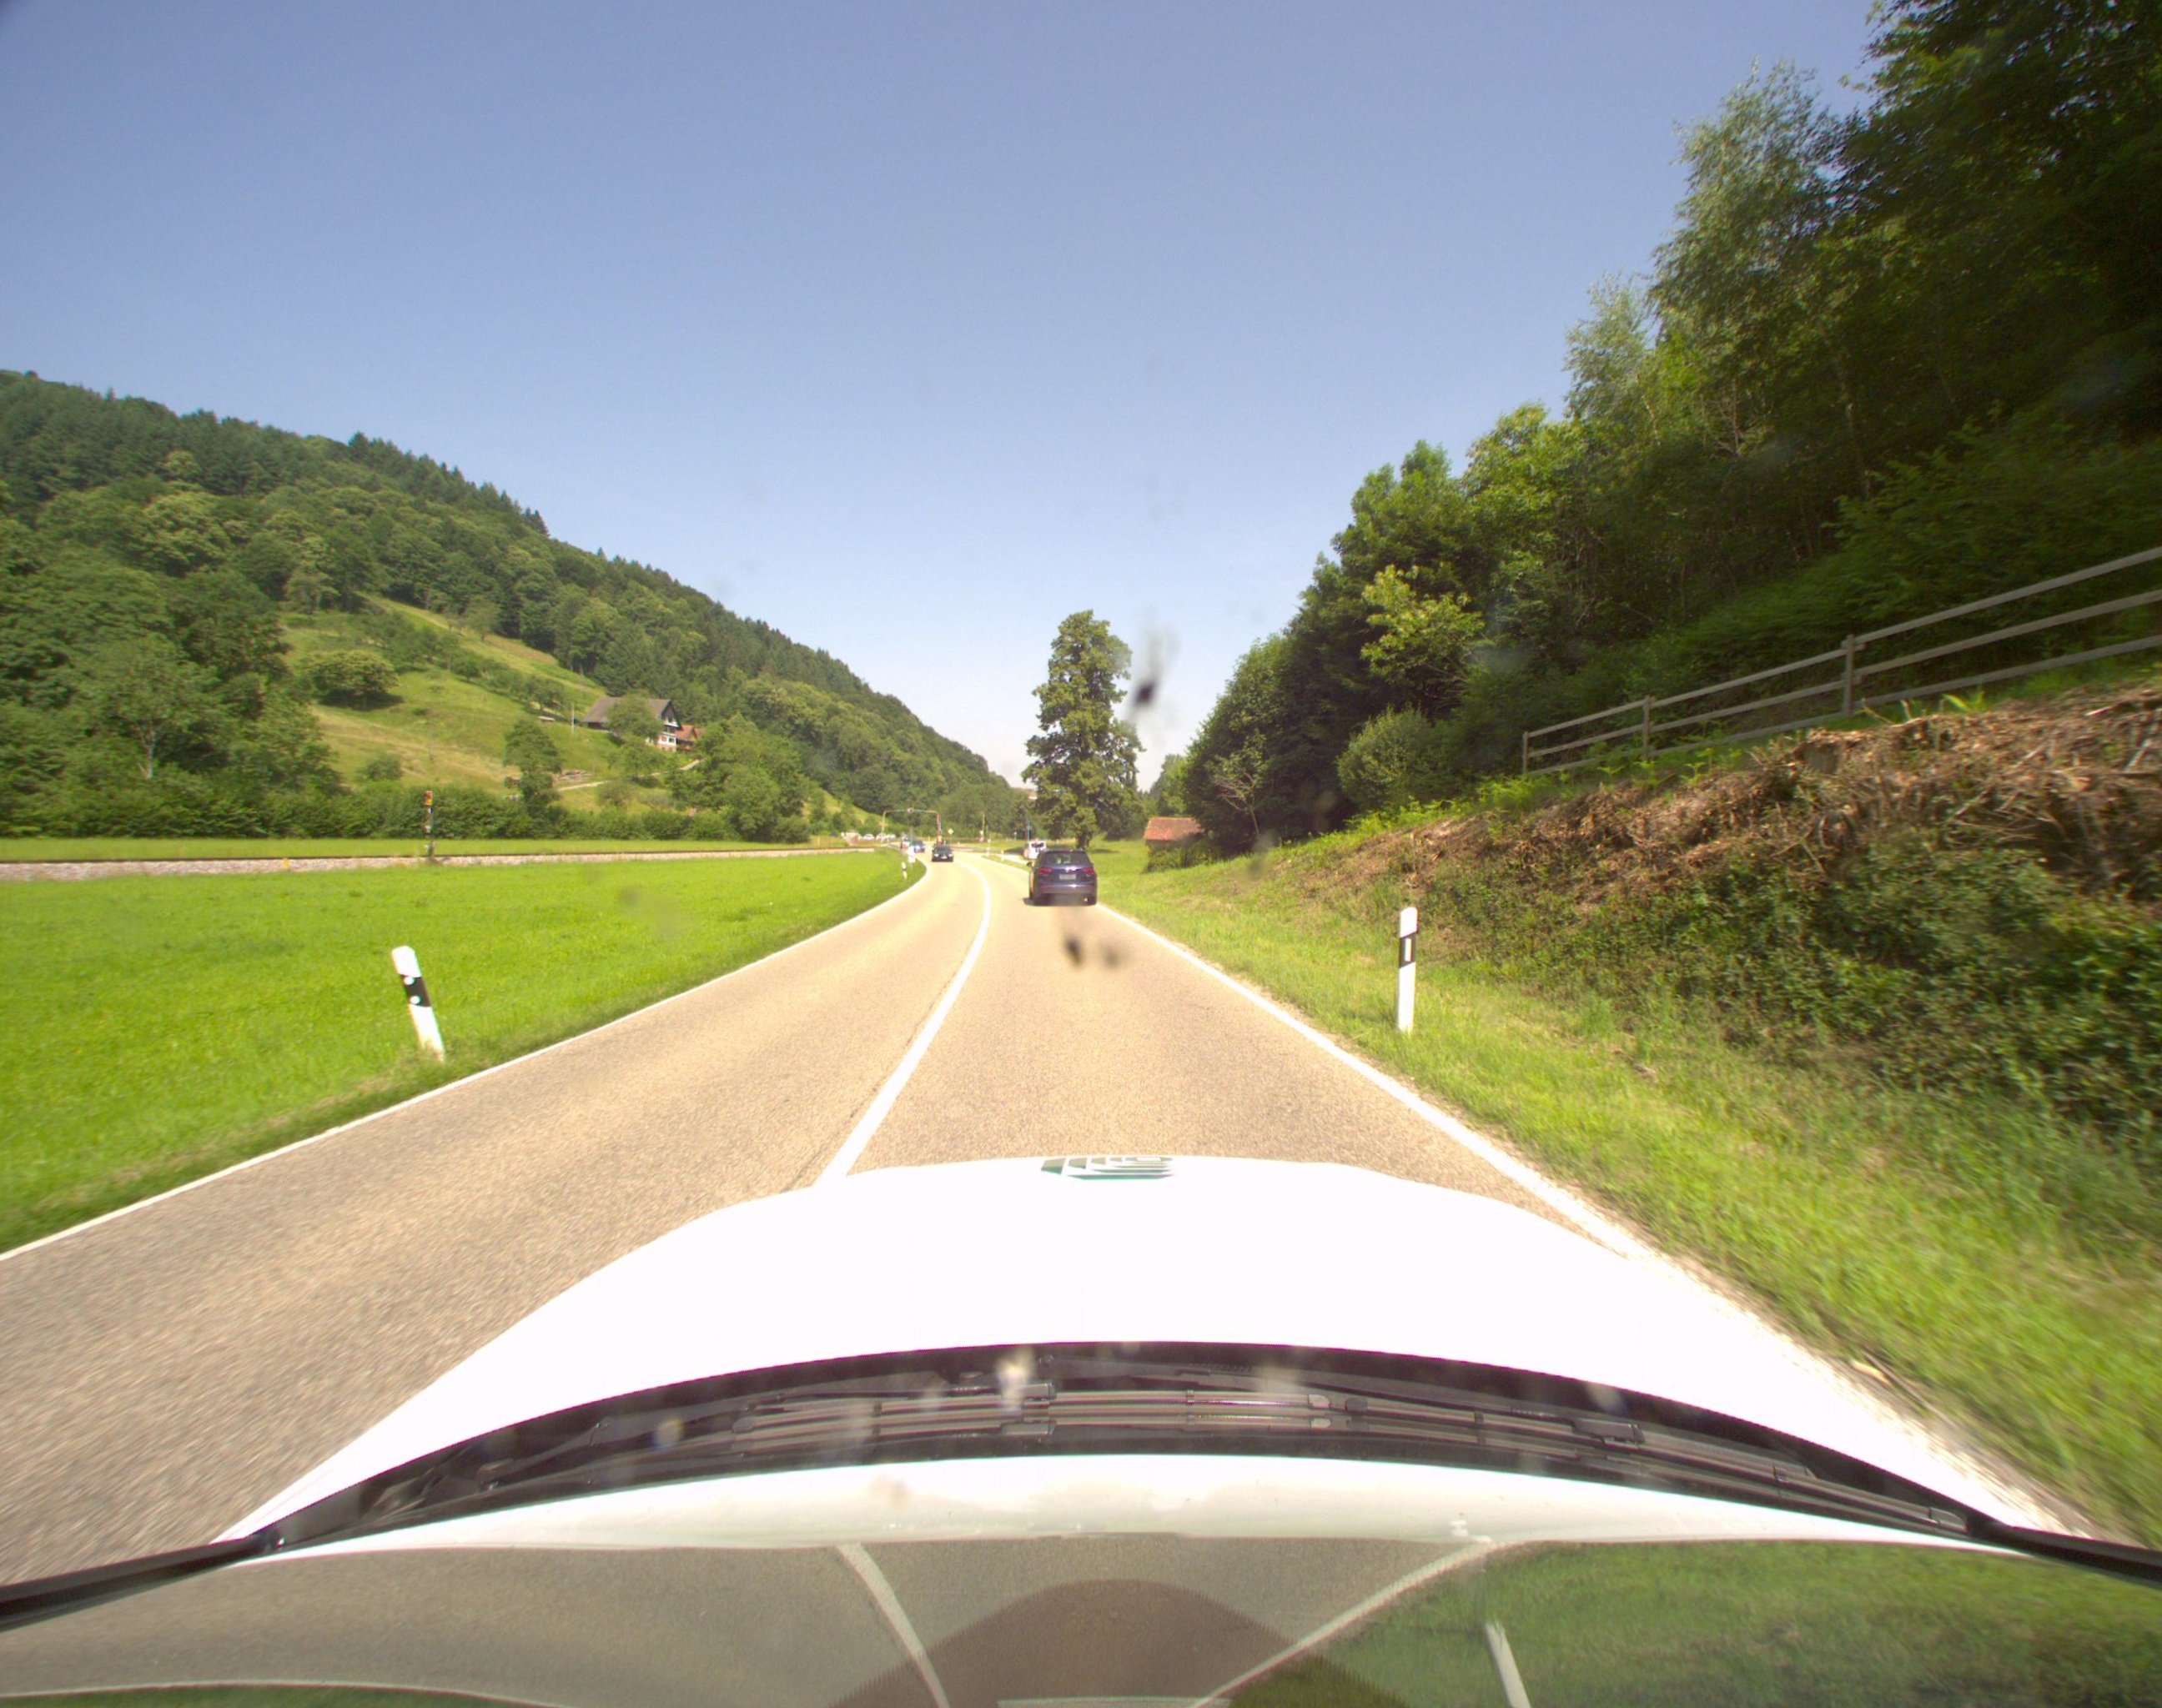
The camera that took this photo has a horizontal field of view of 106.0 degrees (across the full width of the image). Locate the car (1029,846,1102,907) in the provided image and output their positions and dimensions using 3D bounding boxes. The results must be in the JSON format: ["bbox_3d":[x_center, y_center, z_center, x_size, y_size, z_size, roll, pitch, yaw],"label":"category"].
[{"bbox_3d":[-0.550,0.616,24.450,1.850,1.649,4.132,-1,0,-5],"label":"car"}]

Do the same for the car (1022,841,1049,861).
[{"bbox_3d":[-4.801,-0.356,84.895,2.001,1.848,4.850,-4,2,-12],"label":"car"}]

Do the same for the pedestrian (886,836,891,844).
[{"bbox_3d":[-41.737,-3.010,176.703,0.761,1.796,0.798,1,1,25],"label":"pedestrian"}]

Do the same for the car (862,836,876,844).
[{"bbox_3d":[-47.513,-3.106,182.369,1.988,1.641,4.900,0,1,-1],"label":"car"}]

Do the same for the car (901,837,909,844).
[{"bbox_3d":[-39.286,-2.945,181.876,1.827,1.500,4.262,0,1,-11],"label":"car"}]

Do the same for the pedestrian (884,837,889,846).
[{"bbox_3d":[-41.882,-2.691,175.442,0.783,1.842,0.700,0,1,7],"label":"pedestrian"}]

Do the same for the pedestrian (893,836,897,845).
[{"bbox_3d":[-40.438,-2.939,176.956,0.641,1.858,0.776,1,1,32],"label":"pedestrian"}]

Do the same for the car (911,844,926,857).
[{"bbox_3d":[-21.043,-0.509,105.671,1.866,1.623,4.494,0,1,-11],"label":"car"}]

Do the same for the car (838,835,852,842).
[{"bbox_3d":[-52.663,-3.383,181.799,1.989,1.500,4.516,3,1,-4],"label":"car"}]

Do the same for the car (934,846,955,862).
[{"bbox_3d":[-12.950,-0.001,77.190,1.917,1.470,4.494,0,1,-11],"label":"car"}]

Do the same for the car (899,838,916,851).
[{"bbox_3d":[-25.332,-1.392,118.727,1.920,1.714,4.135,0,1,-18],"label":"car"}]
